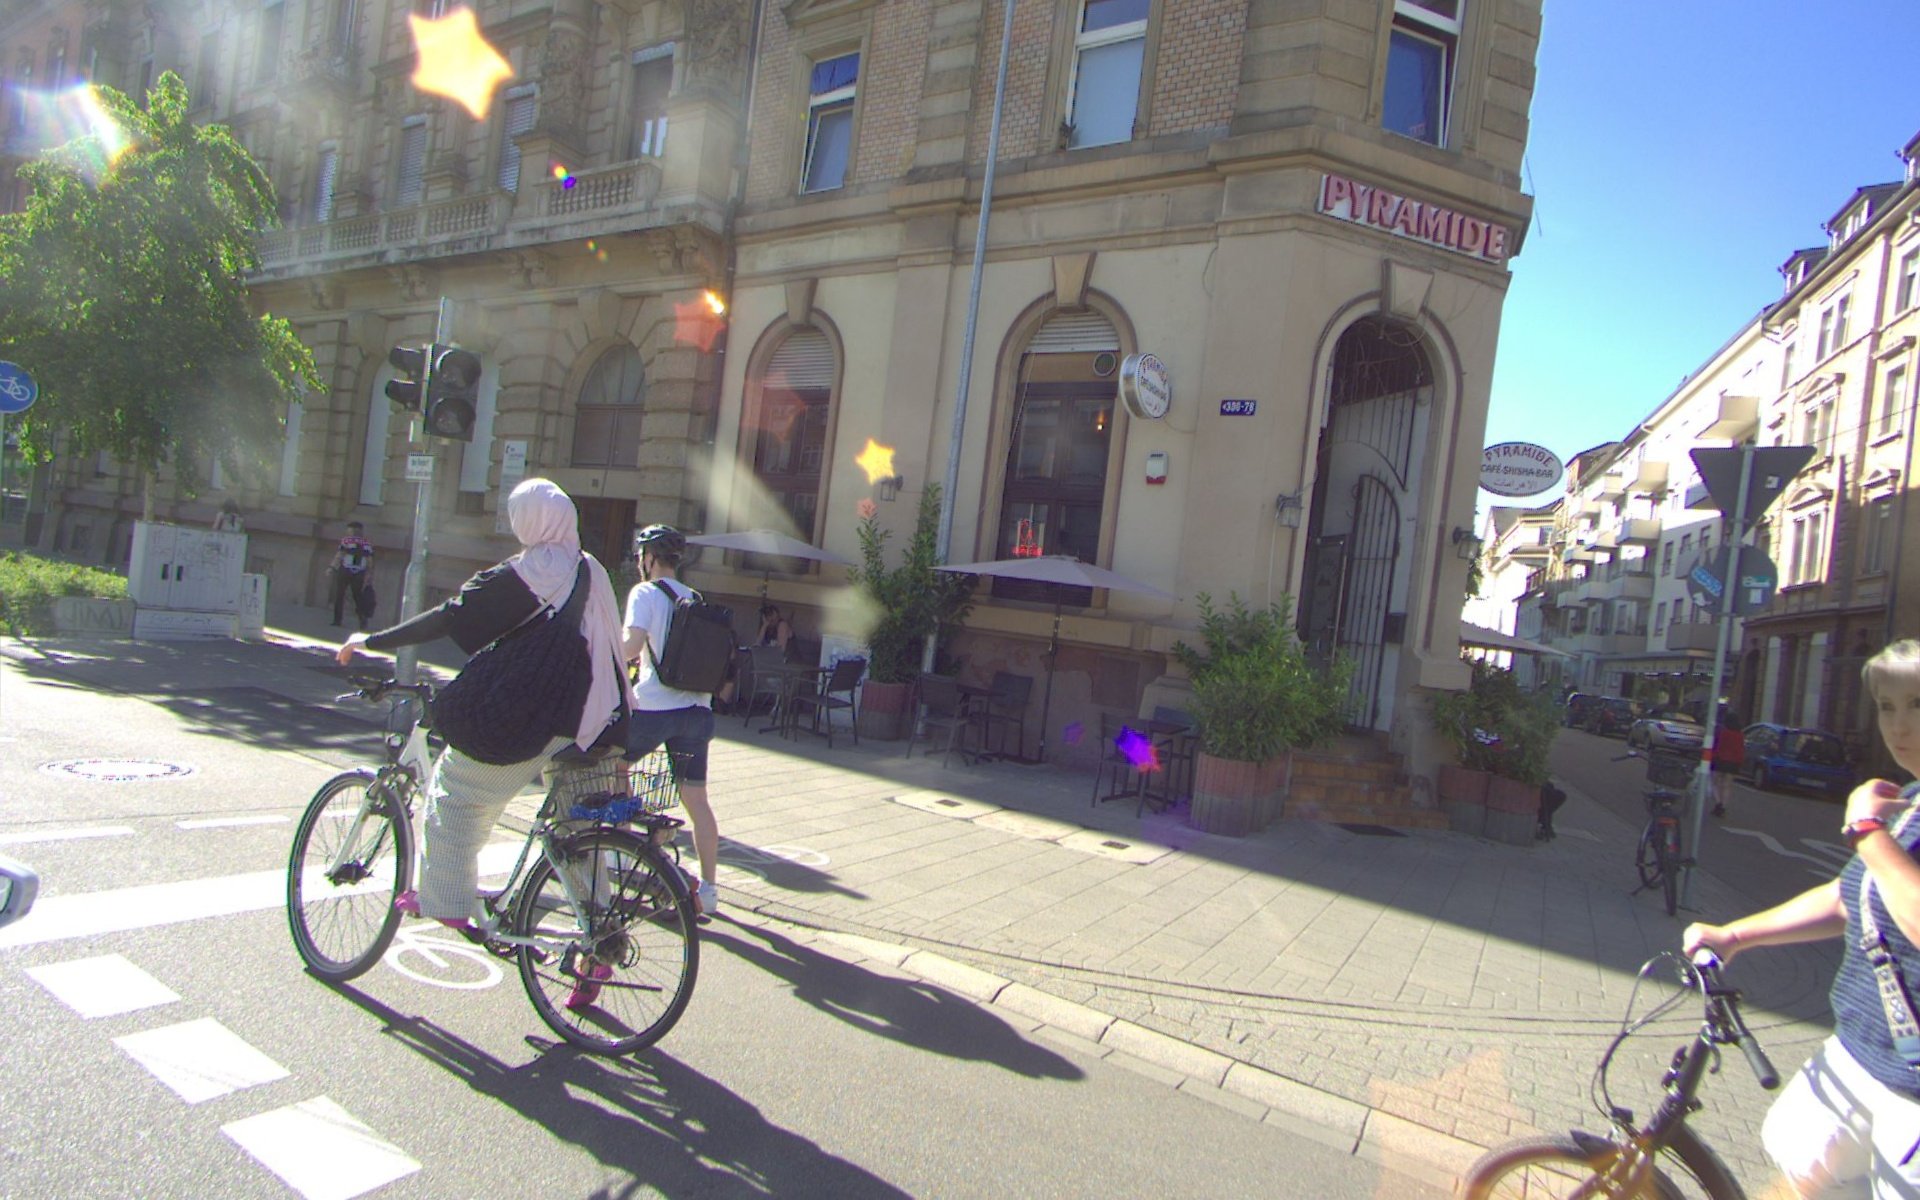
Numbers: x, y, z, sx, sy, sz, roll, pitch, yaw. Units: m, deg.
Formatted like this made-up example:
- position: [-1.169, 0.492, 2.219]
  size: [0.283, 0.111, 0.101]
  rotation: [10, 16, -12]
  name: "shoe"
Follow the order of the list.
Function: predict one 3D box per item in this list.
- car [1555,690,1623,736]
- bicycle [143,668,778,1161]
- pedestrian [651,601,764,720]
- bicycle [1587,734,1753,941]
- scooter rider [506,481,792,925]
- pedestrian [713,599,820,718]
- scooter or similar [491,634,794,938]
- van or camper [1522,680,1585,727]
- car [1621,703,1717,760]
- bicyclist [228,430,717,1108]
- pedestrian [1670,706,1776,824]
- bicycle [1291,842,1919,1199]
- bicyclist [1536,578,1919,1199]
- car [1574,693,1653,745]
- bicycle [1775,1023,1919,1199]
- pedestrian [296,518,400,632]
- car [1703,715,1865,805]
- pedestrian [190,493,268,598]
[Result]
- position: [25.912, 4.624, 41.550]
  size: [1.599, 1.424, 3.439]
  rotation: [9, 1, 22]
  name: "car"
- position: [-1.674, 0.878, 3.344]
  size: [1.917, 1.018, 0.726]
  rotation: [7, -1, 24]
  name: "bicycle"
- position: [-2.836, 0.678, 11.326]
  size: [0.867, 1.197, 0.718]
  rotation: [6, 0, 31]
  name: "pedestrian"
- position: [5.791, 1.818, 8.166]
  size: [0.804, 1.247, 2.211]
  rotation: [11, 2, 38]
  name: "bicycle"
- position: [-1.488, 0.453, 4.859]
  size: [0.882, 1.888, 0.663]
  rotation: [7, -1, 27]
  name: "scooter rider"
- position: [-2.323, 0.704, 12.092]
  size: [0.873, 1.298, 0.726]
  rotation: [6, 0, 31]
  name: "pedestrian"
- position: [-1.521, 0.833, 4.846]
  size: [1.130, 1.172, 0.647]
  rotation: [7, -1, 26]
  name: "scooter or similar"
- position: [30.264, 5.221, 51.400]
  size: [1.850, 1.867, 4.545]
  rotation: [9, 1, 22]
  name: "van or camper"
- position: [21.483, 3.947, 30.593]
  size: [1.600, 1.337, 3.389]
  rotation: [6, -1, 24]
  name: "car"
- position: [-1.583, 0.461, 3.332]
  size: [1.071, 1.839, 0.726]
  rotation: [7, -1, 23]
  name: "bicyclist"
- position: [11.684, 2.502, 15.433]
  size: [0.891, 1.592, 0.835]
  rotation: [7, -1, 12]
  name: "pedestrian"
- position: [1.789, 1.271, 2.100]
  size: [1.920, 1.018, 0.829]
  rotation: [7, -1, 32]
  name: "bicycle"
- position: [1.841, 0.916, 2.098]
  size: [0.972, 1.747, 0.853]
  rotation: [7, -1, 32]
  name: "bicyclist"
- position: [23.884, 4.299, 36.866]
  size: [1.599, 1.424, 3.439]
  rotation: [9, 1, 22]
  name: "car"
- position: [2.013, 1.271, 0.901]
  size: [1.917, 1.018, 0.725]
  rotation: [7, -1, 25]
  name: "bicycle"
- position: [-10.021, -0.405, 16.477]
  size: [1.095, 1.714, 0.970]
  rotation: [7, 2, 32]
  name: "pedestrian"
- position: [18.409, 3.521, 22.675]
  size: [1.587, 1.428, 3.703]
  rotation: [7, -1, 21]
  name: "car"
- position: [-14.661, -1.089, 20.170]
  size: [1.081, 1.945, 0.889]
  rotation: [7, 2, 37]
  name: "pedestrian"
